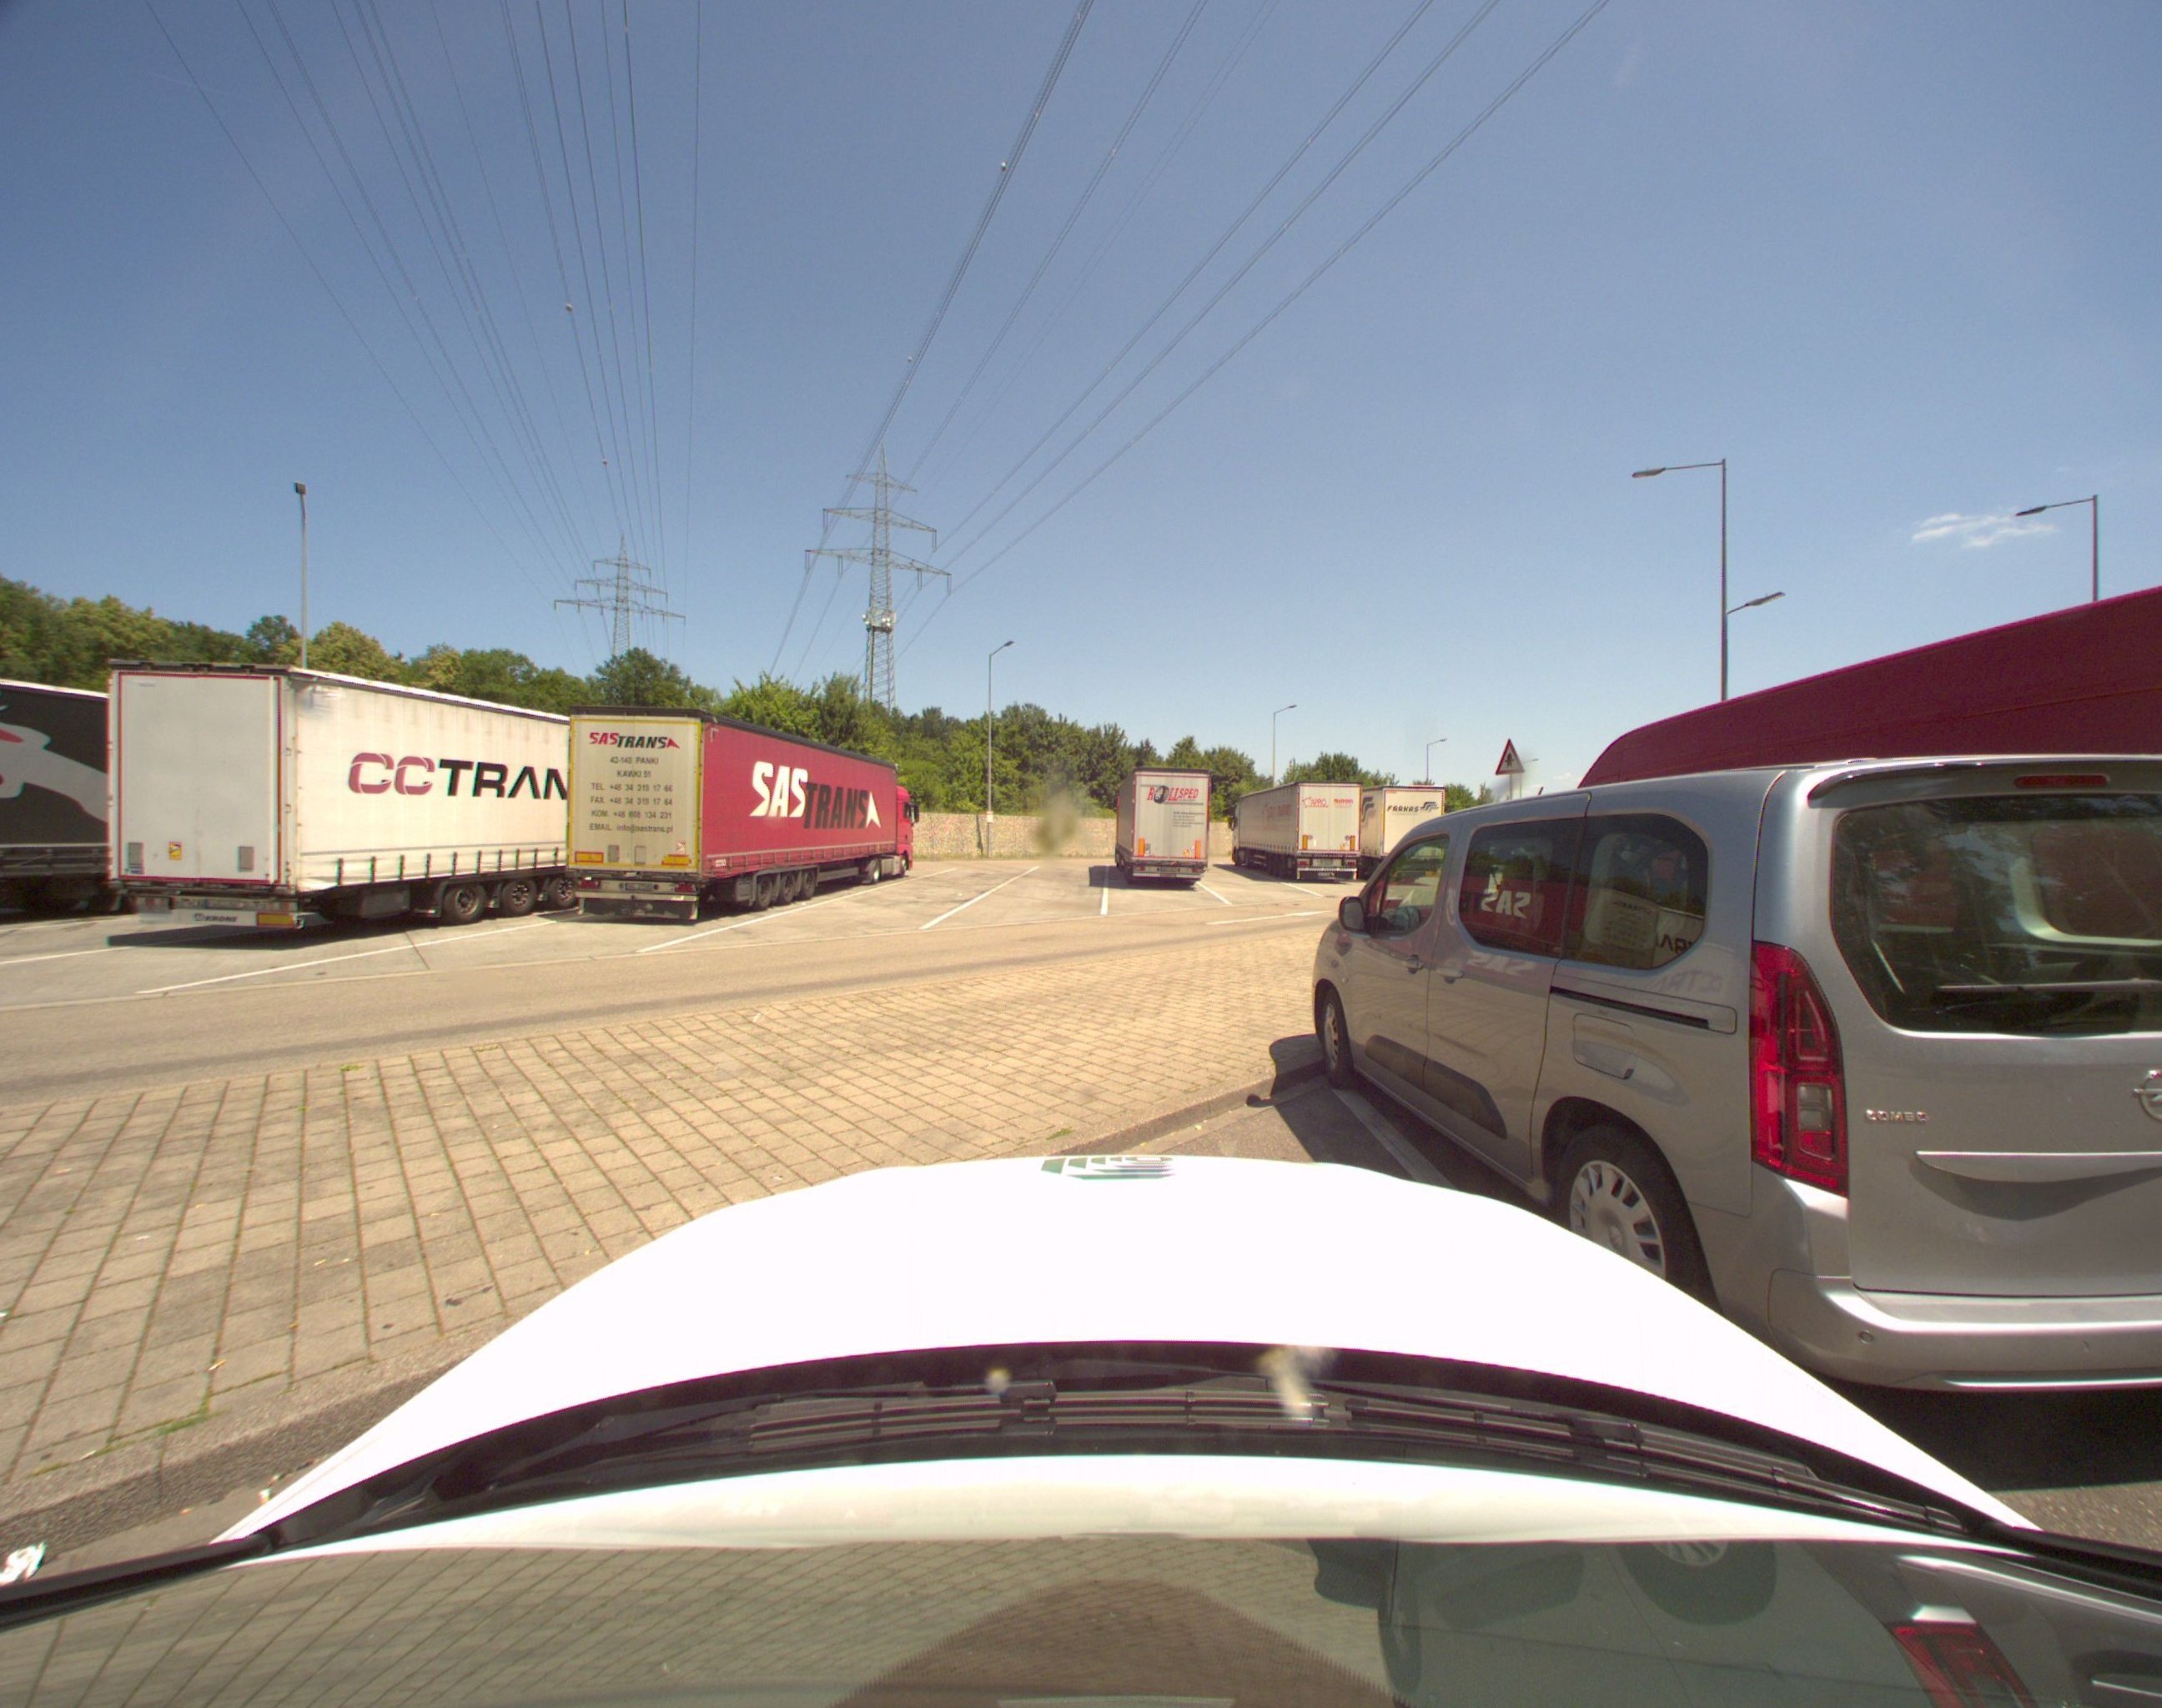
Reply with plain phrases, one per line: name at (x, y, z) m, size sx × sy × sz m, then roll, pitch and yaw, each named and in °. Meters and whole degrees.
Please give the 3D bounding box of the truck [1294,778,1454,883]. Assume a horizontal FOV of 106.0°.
truck at (13.569, -1.049, 39.655) m, size 2.894 × 4.124 × 14.533 m, roll 2°, pitch 1°, yaw 2°

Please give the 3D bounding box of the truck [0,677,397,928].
truck at (-18.518, -0.855, 15.966) m, size 2.627 × 4.018 × 8.640 m, roll -1°, pitch 1°, yaw 2°

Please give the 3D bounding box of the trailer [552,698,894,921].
trailer at (-8.053, -0.915, 21.512) m, size 2.739 × 4.057 × 13.292 m, roll -1°, pitch 1°, yaw 2°

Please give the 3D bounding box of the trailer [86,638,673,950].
trailer at (-12.105, -0.894, 16.073) m, size 2.734 × 4.263 × 9.740 m, roll 0°, pitch 1°, yaw 3°

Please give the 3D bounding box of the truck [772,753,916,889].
truck at (-7.845, -1.047, 28.016) m, size 2.733 × 4.081 × 6.832 m, roll -1°, pitch 1°, yaw 1°

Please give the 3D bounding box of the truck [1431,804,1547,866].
truck at (24.456, -1.118, 49.437) m, size 3.013 × 3.437 × 8.534 m, roll -1°, pitch 1°, yaw 2°

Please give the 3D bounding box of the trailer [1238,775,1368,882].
trailer at (9.934, -1.096, 38.411) m, size 2.865 × 4.124 × 13.577 m, roll 0°, pitch 1°, yaw 2°

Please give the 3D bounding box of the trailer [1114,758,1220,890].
trailer at (3.039, -1.182, 32.740) m, size 3.059 × 4.227 × 12.811 m, roll 1°, pitch 2°, yaw 1°

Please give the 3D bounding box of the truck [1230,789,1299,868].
truck at (10.121, -1.385, 45.414) m, size 2.747 × 4.124 × 5.286 m, roll -1°, pitch 1°, yaw 2°

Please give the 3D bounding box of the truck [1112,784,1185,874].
truck at (3.121, -1.214, 39.512) m, size 3.016 × 3.928 × 6.848 m, roll 1°, pitch 2°, yaw 1°

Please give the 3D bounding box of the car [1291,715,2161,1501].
car at (2.464, 0.531, 3.852) m, size 1.821 × 1.753 × 3.998 m, roll -1°, pitch 1°, yaw -2°

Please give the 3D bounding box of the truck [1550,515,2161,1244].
truck at (5.094, 0.052, 4.873) m, size 1.983 × 2.623 × 5.312 m, roll 0°, pitch 1°, yaw 6°
